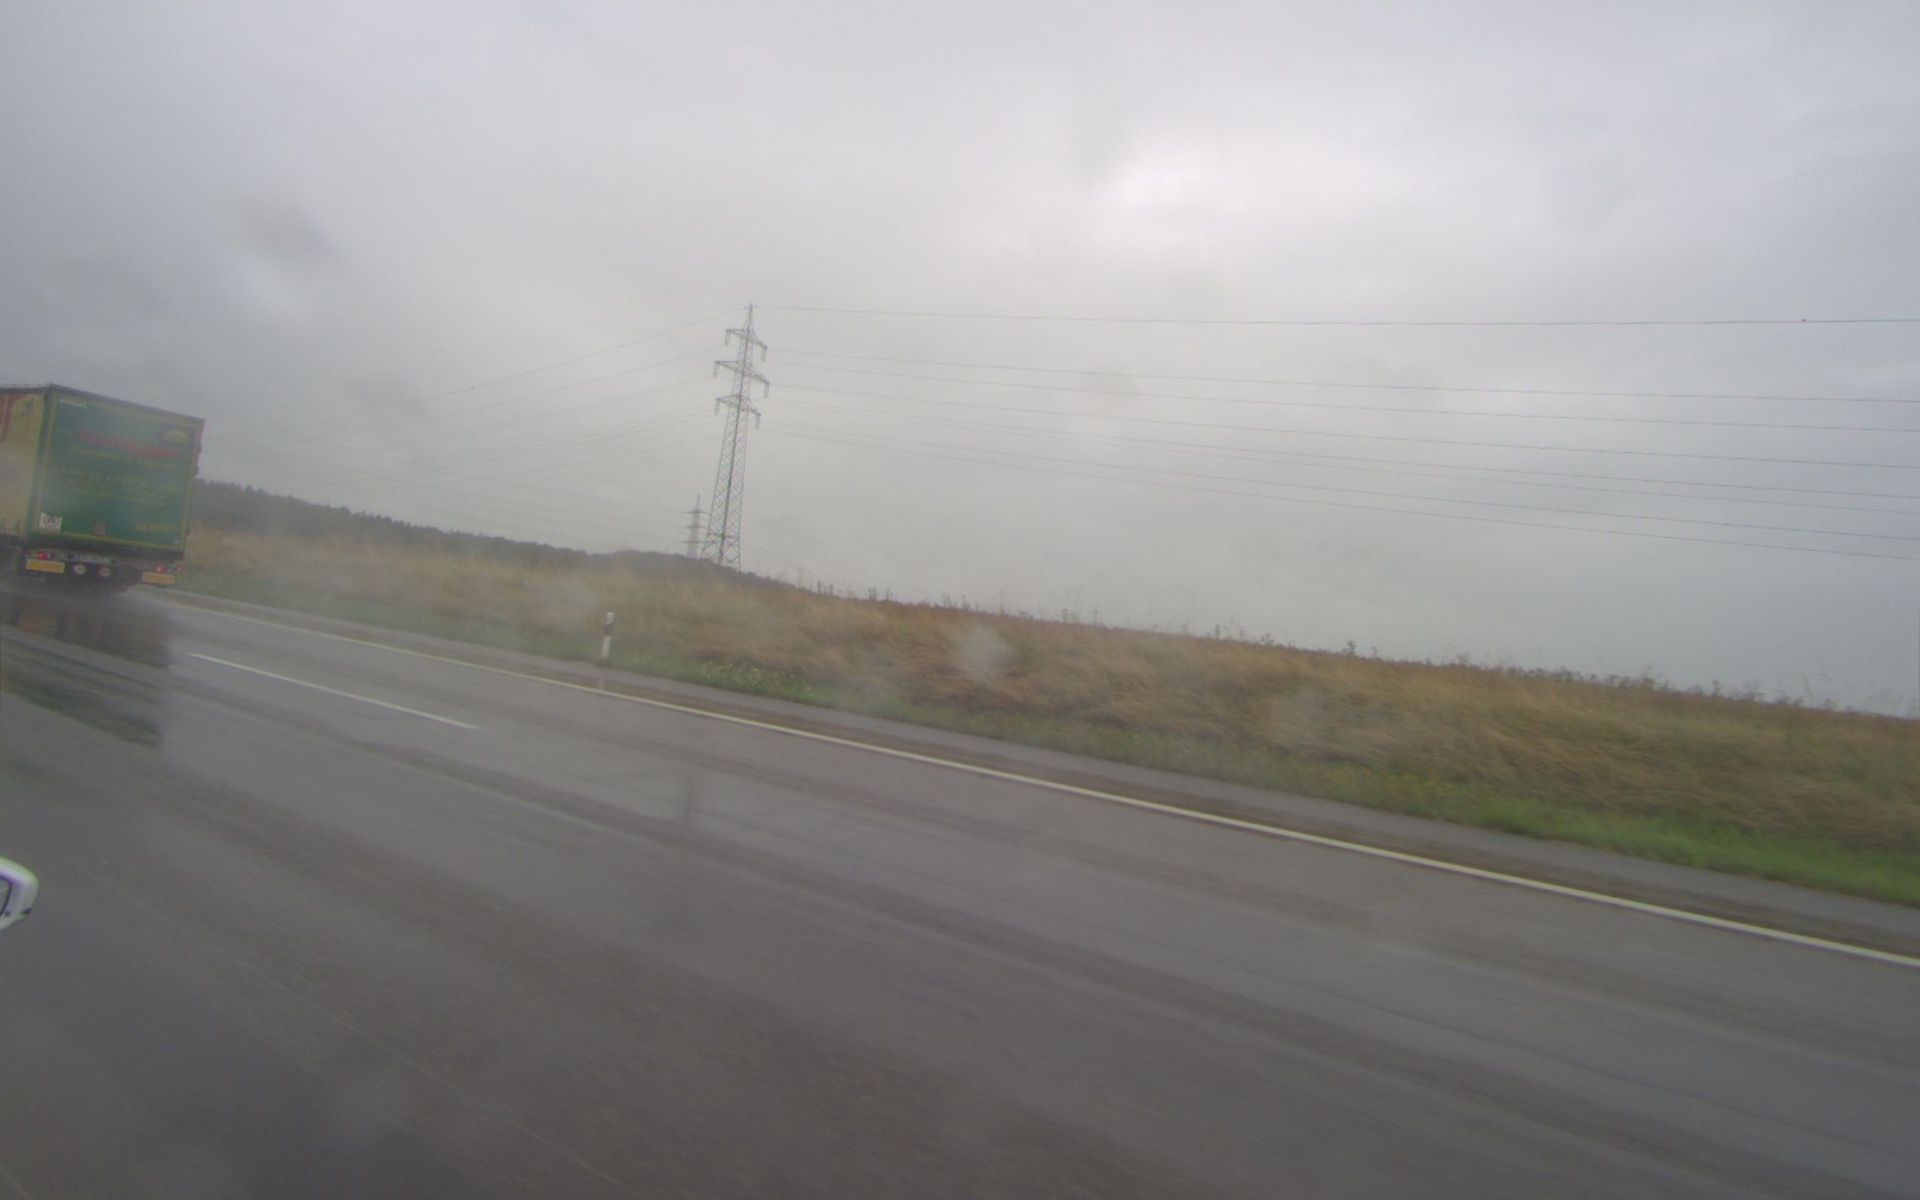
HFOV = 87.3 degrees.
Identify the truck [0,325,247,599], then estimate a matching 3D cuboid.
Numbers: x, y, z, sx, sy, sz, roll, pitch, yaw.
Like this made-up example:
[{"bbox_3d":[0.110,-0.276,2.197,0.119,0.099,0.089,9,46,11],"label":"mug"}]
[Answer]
[{"bbox_3d":[-23.450,-3.254,24.293,15.842,4.686,4.194,6,-1,33],"label":"truck"}]
